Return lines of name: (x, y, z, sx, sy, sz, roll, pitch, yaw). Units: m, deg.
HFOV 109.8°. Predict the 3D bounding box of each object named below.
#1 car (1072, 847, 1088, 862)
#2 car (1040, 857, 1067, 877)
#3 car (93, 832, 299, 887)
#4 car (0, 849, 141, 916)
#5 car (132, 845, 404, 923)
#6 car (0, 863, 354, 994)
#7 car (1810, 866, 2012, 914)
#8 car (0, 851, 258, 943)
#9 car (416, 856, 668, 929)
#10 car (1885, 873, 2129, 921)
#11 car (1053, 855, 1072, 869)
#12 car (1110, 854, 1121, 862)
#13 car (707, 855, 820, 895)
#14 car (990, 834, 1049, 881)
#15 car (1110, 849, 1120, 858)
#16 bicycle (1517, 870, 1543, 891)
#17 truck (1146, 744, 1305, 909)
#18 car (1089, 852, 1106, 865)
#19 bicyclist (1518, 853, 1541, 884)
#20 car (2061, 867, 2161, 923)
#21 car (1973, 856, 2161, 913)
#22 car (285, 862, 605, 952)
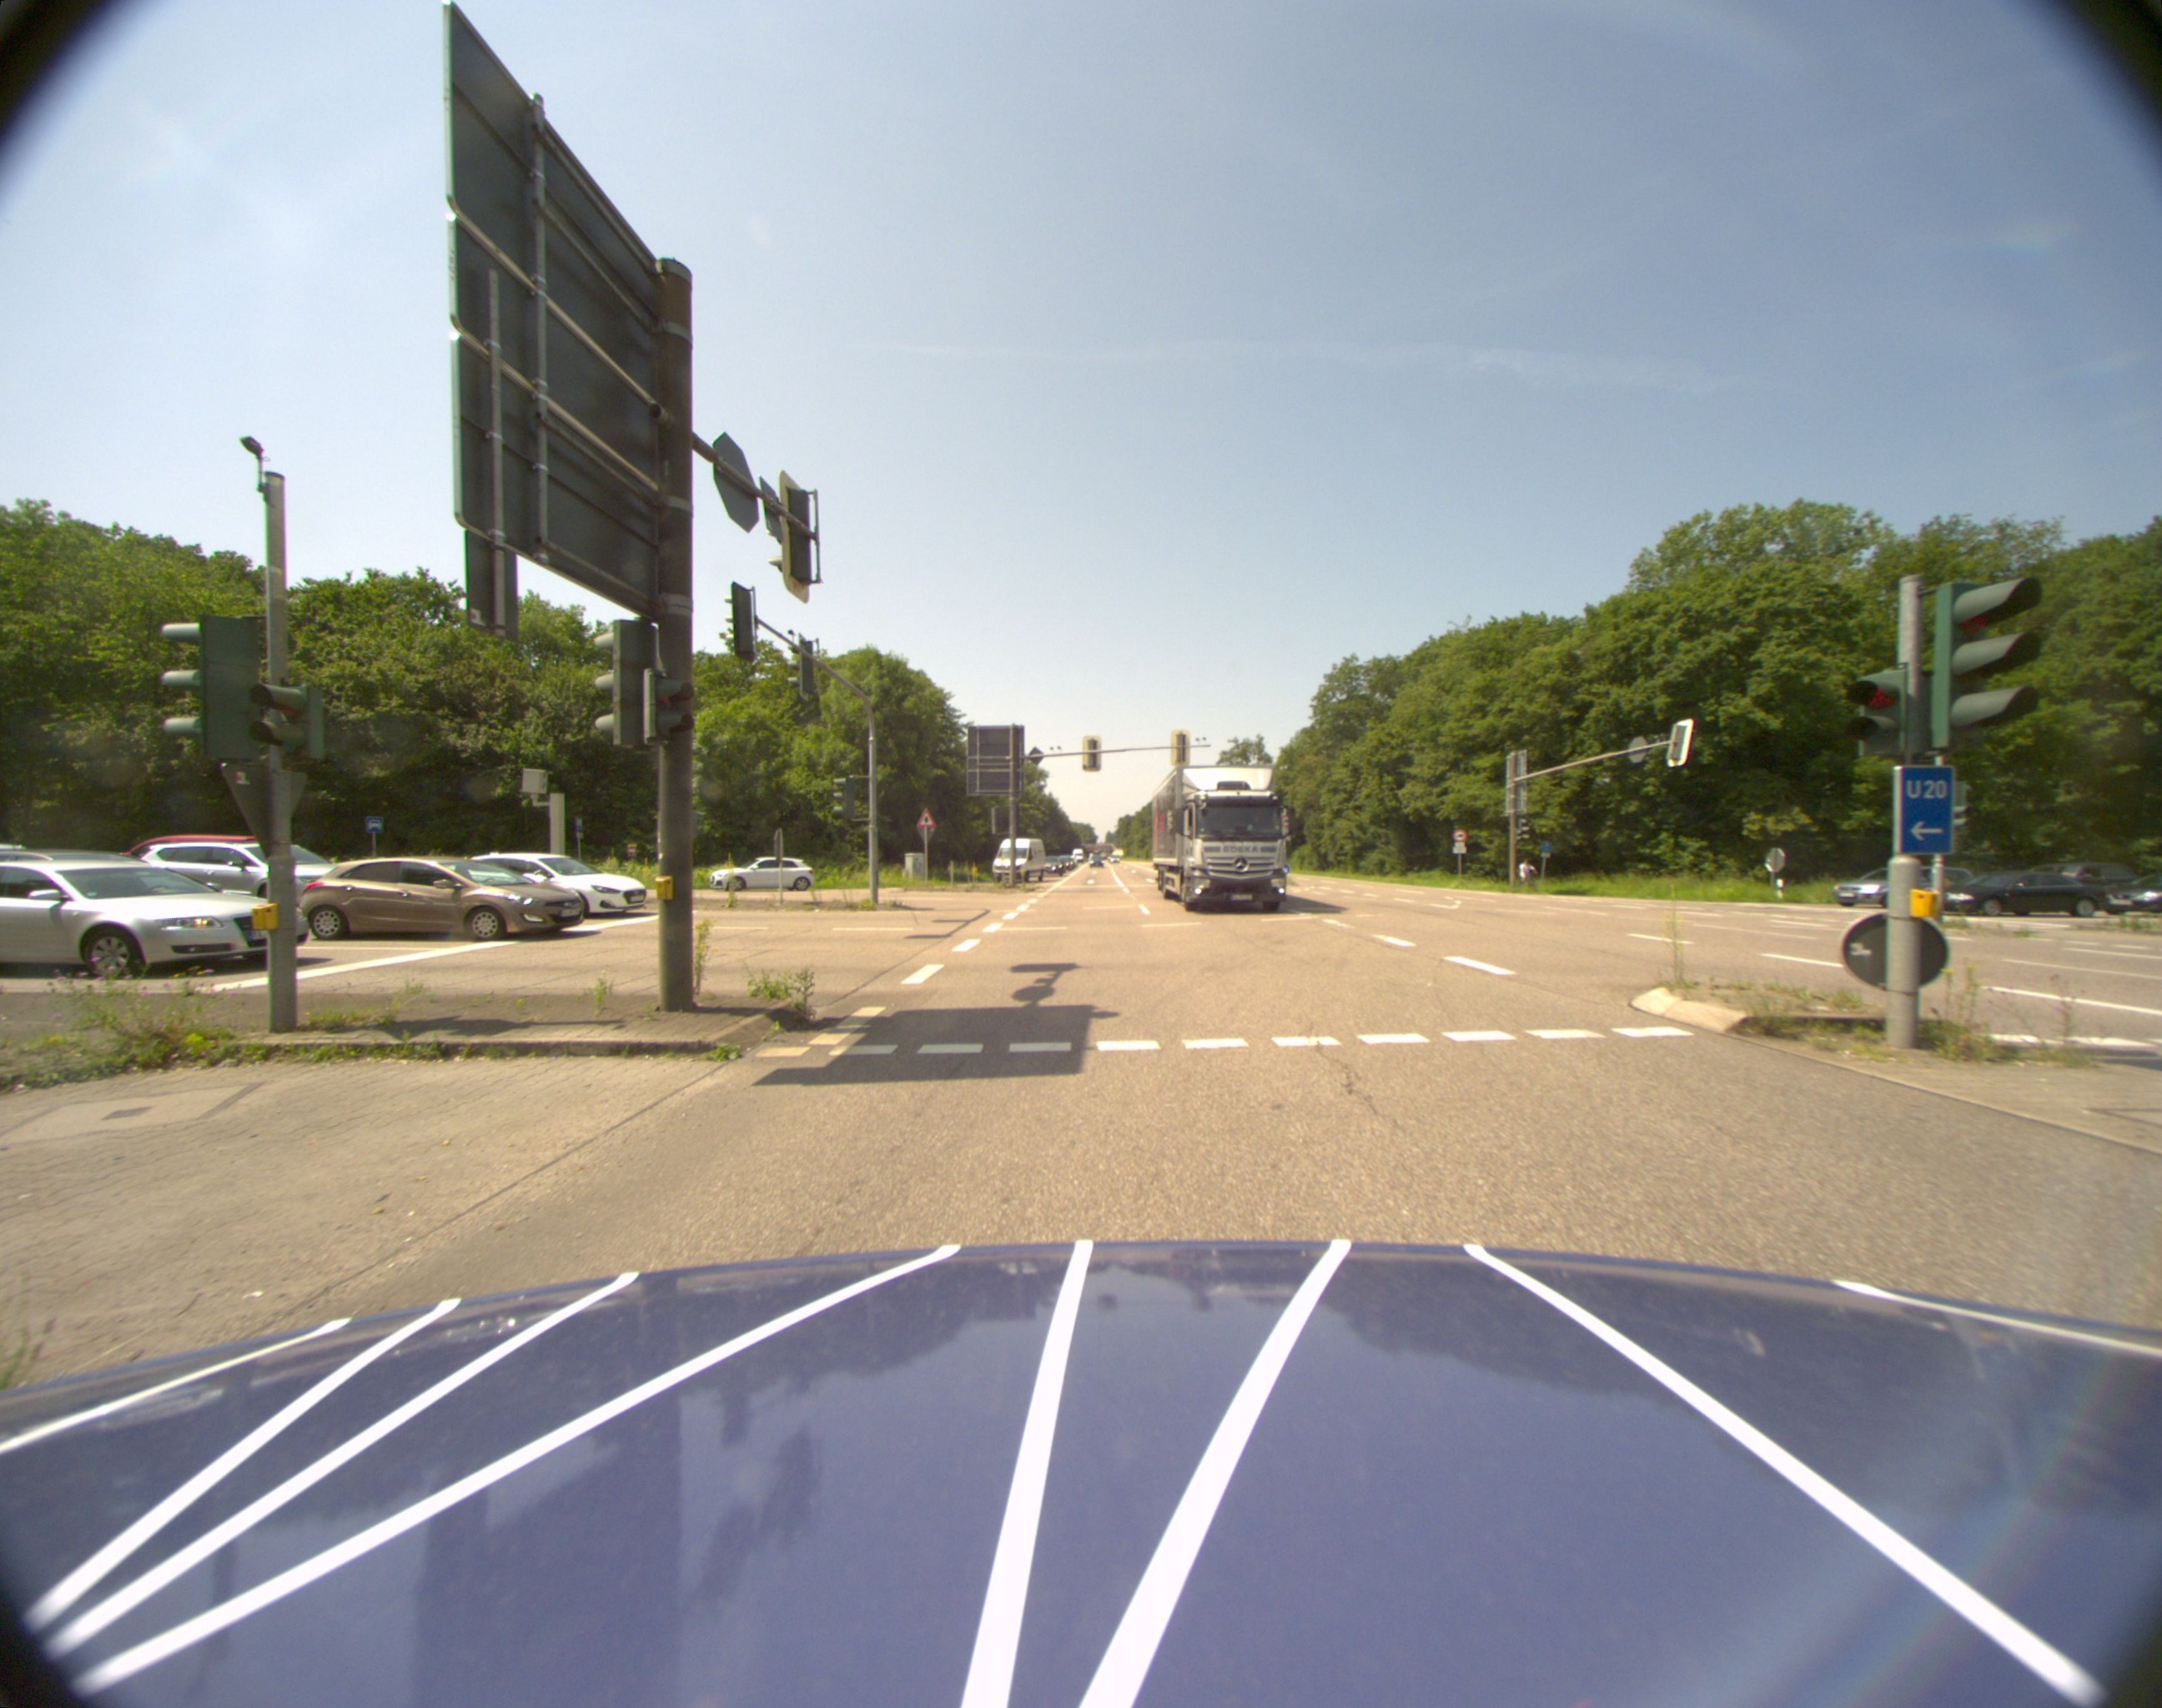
car: (-0.150, 0.099, 147.545, 2.673, 2.685, 6.331, 1, 0, 3)
car: (-2.077, 0.958, 58.850, 1.796, 1.452, 4.229, -1, 0, 1)
car: (-30.420, 0.186, 26.270, 4.497, 1.812, 1.796, -1, -1, -10)
car: (-25.393, 0.616, 17.820, 4.341, 1.406, 1.974, 1, 1, 2)
car: (-18.565, 0.652, 17.516, 4.182, 1.649, 2.000, 1, 0, 1)
car: (-13.186, 0.911, 10.217, 4.943, 1.490, 2.020, 0, 1, 2)
car: (29.604, 1.240, 27.226, 4.816, 1.558, 2.130, 1, 0, 1)
car: (-19.015, 0.754, 14.461, 4.430, 1.526, 2.122, 1, 1, 1)
car: (-12.346, 0.844, 17.639, 4.430, 1.526, 2.000, 1, 0, 0)
car: (28.342, 1.295, 23.401, 4.816, 1.283, 2.106, 1, 0, 2)
car: (-1.880, 0.816, 78.416, 1.796, 1.431, 4.228, 0, 0, 0)
car: (6.367, 0.742, 140.417, 1.998, 1.543, 4.000, 1, 0, 1)
car: (-13.151, 0.850, 31.544, 4.007, 1.427, 1.691, -2, 0, -35)
car: (-3.595, 0.203, 45.921, 1.973, 2.629, 6.065, -1, 0, 11)
car: (7.517, -0.039, 168.732, 1.998, 1.867, 4.000, 1, 0, 1)
bicycle: (21.206, 1.243, 35.910, 0.566, 0.918, 1.606, 1, 0, 11)
truck: (3.920, -0.662, 23.679, 2.753, 3.862, 11.320, -1, 0, 0)
car: (1.982, 0.555, 93.760, 1.992, 1.575, 4.364, 0, 0, 0)
bicyclist: (21.208, 0.692, 35.929, 0.660, 1.456, 0.810, 1, 1, 11)
car: (33.967, 1.262, 23.318, 4.815, 1.626, 2.001, 1, 0, 5)
car: (35.457, 1.067, 27.120, 4.817, 1.887, 2.000, 1, 0, 1)
car: (-11.306, 0.899, 13.760, 4.102, 1.438, 1.995, 1, 0, -1)
